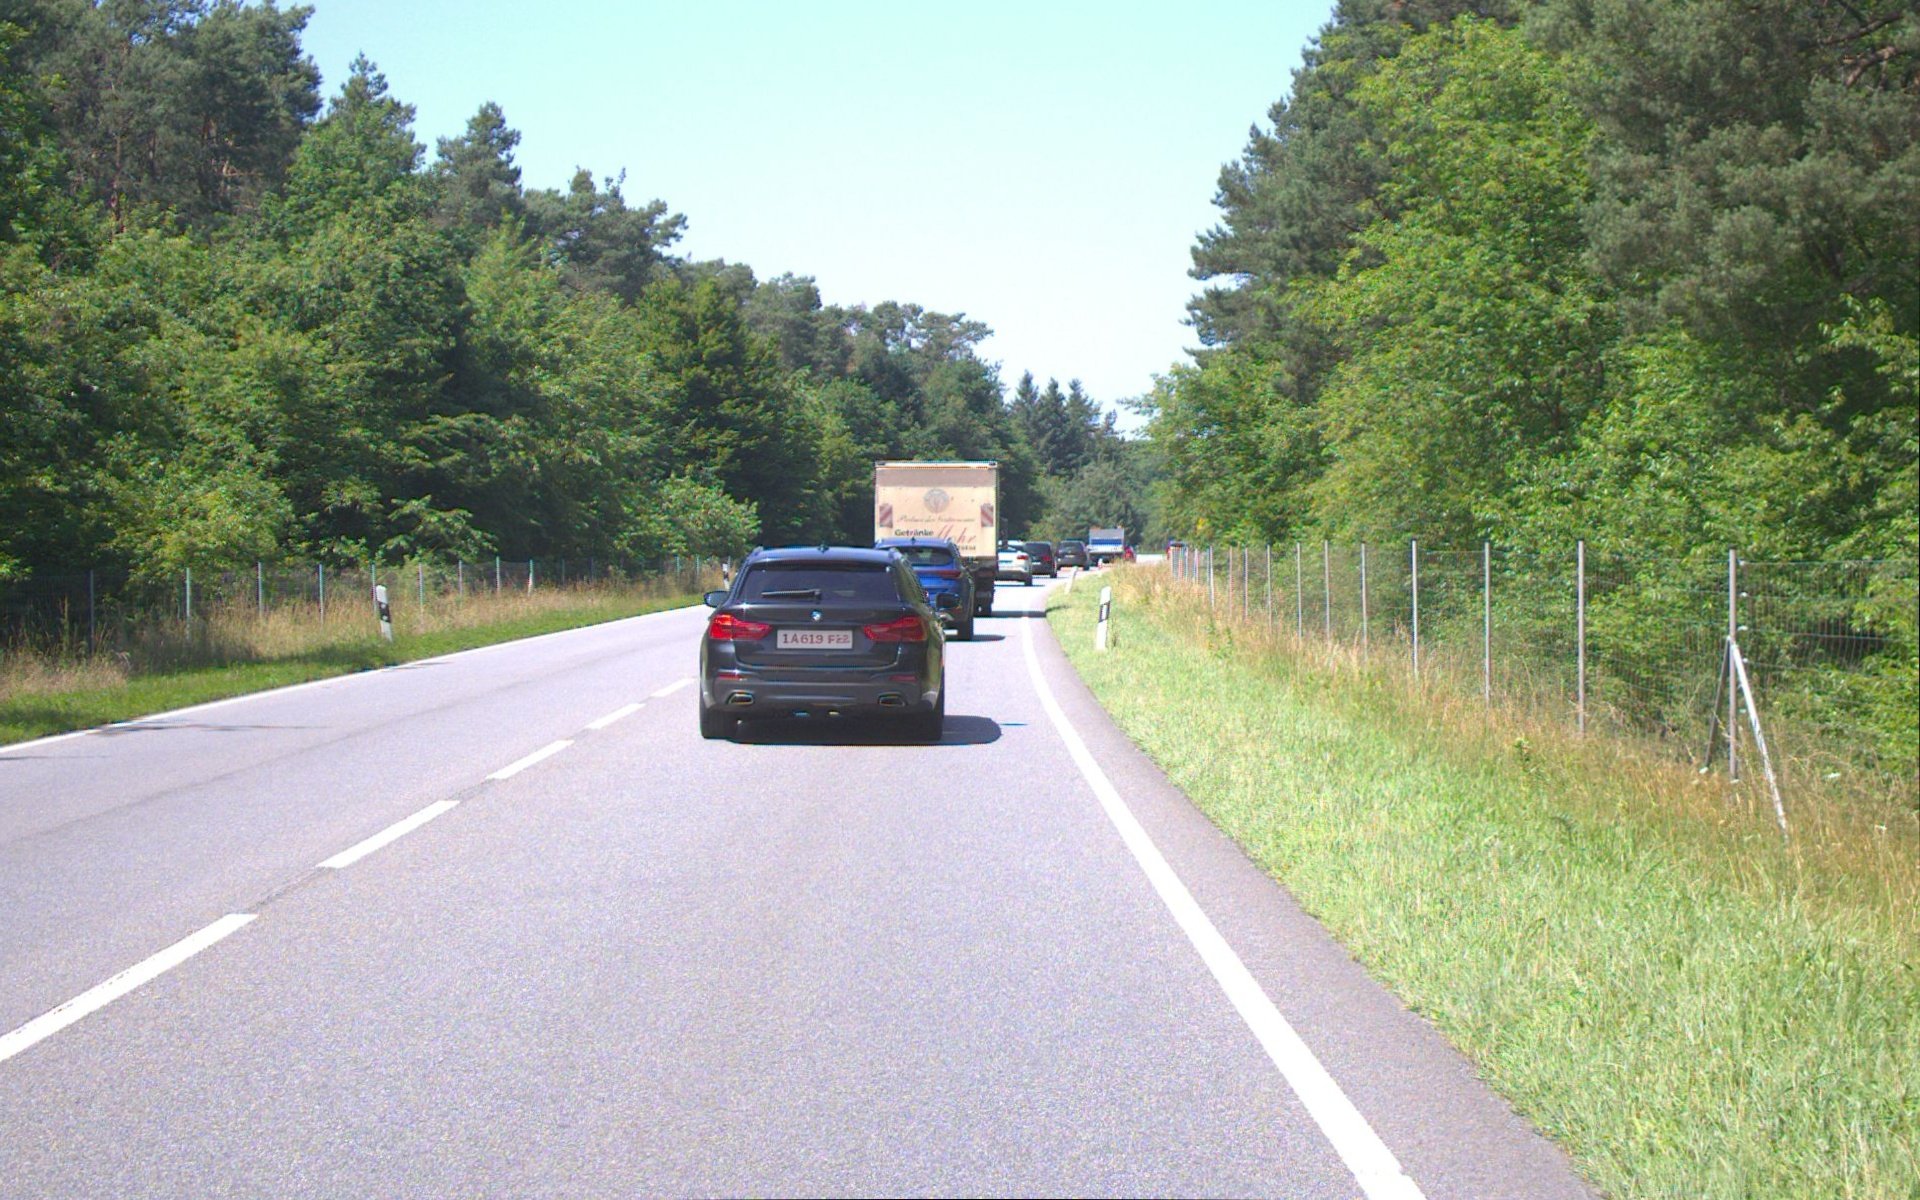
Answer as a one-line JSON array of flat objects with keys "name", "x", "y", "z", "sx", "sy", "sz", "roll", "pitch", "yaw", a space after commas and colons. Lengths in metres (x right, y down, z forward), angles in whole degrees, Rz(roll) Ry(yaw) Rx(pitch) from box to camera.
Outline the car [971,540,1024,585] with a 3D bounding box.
[{"name": "car", "x": 1.341, "y": -1.376, "z": 124.882, "sx": 1.863, "sy": 1.600, "sz": 4.000, "roll": 0, "pitch": 1, "yaw": 0}]

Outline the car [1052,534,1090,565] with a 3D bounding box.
[{"name": "car", "x": 6.095, "y": -2.772, "z": 188.750, "sx": 1.994, "sy": 1.631, "sz": 4.000, "roll": -1, "pitch": 1, "yaw": 3}]

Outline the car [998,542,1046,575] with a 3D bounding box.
[{"name": "car", "x": 2.741, "y": -1.861, "z": 152.639, "sx": 1.993, "sy": 1.415, "sz": 4.000, "roll": 1, "pitch": 1, "yaw": 0}]

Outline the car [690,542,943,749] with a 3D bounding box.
[{"name": "car", "x": -1.123, "y": 0.302, "z": 27.154, "sx": 1.820, "sy": 1.465, "sz": 4.001, "roll": 1, "pitch": 1, "yaw": -2}]

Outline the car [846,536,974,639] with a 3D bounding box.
[{"name": "car", "x": -0.783, "y": -0.227, "z": 54.980, "sx": 1.947, "sy": 1.536, "sz": 4.000, "roll": -1, "pitch": 1, "yaw": 0}]

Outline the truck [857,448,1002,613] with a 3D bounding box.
[{"name": "truck", "x": -0.719, "y": -1.495, "z": 73.947, "sx": 2.965, "sy": 3.376, "sz": 6.439, "roll": 0, "pitch": 1, "yaw": -2}]

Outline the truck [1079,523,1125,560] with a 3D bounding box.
[{"name": "truck", "x": 8.794, "y": -3.631, "z": 212.667, "sx": 2.564, "sy": 2.194, "sz": 4.973, "roll": -1, "pitch": 1, "yaw": 6}]
